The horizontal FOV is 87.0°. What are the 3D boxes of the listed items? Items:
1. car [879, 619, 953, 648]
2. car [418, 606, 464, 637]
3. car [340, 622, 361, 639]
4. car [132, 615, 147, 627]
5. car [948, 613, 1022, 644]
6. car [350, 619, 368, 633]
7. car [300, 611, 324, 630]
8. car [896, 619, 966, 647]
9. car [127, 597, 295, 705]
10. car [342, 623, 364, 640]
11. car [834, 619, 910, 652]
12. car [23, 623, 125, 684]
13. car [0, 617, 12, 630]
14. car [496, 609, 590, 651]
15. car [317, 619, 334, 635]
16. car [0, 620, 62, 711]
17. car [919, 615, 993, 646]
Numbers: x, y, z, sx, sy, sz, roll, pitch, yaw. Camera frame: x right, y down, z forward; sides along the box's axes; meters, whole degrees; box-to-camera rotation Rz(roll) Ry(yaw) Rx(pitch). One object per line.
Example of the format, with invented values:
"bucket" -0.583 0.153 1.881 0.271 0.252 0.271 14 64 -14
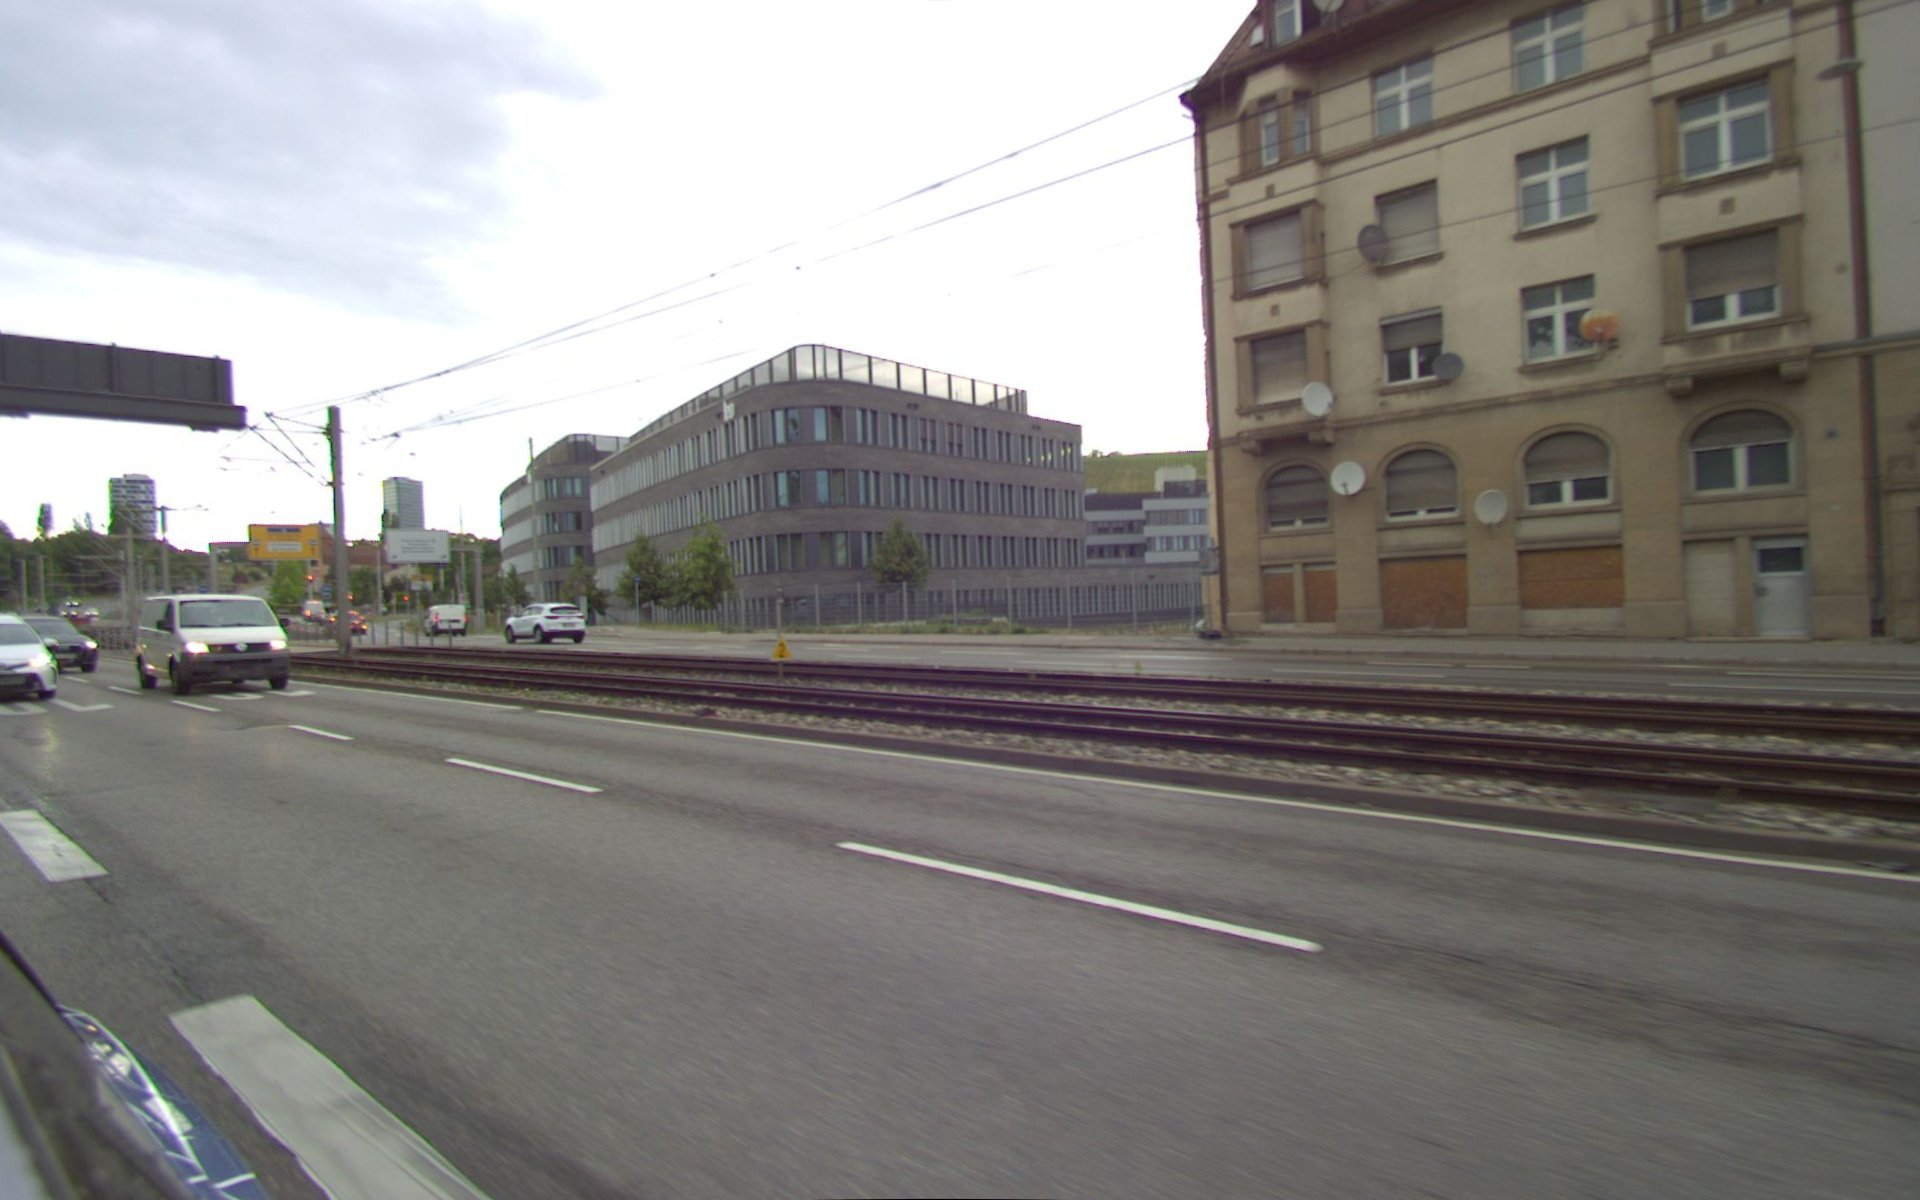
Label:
"car" -2.211 1.656 50.399 3.567 1.345 1.601 -1 0 41
"car" -30.828 1.294 60.055 1.807 1.811 4.225 1 -2 -36
"car" -69.242 3.456 114.944 1.807 1.811 4.226 0 -2 -35
"car" -137.022 3.462 169.016 1.969 1.962 4.006 0 0 -40
"car" 1.378 1.563 56.686 3.998 1.666 1.722 -1 0 41
"car" -78.753 3.413 132.630 1.807 1.811 4.226 0 -2 -35
"car" -89.678 2.789 140.031 2.301 2.486 7.043 0 0 -36
"car" -1.524 1.690 52.988 3.567 1.393 1.525 -1 0 41
"car" -15.630 0.993 21.013 4.716 1.973 1.889 -2 0 42
"car" -65.985 3.426 110.049 1.807 1.811 4.226 0 -2 -35
"car" -4.184 1.652 47.717 3.567 1.447 1.525 -1 0 41
"car" -25.269 1.483 28.829 3.894 1.585 1.686 -2 -1 41
"car" -156.644 3.881 165.447 3.998 2.029 1.973 -1 0 41
"car" -17.300 1.252 41.912 4.485 1.609 1.727 -2 0 41
"car" -79.896 3.373 127.409 1.643 1.833 4.010 0 0 -34
"car" -18.728 1.217 19.257 4.317 1.585 1.956 -2 -1 41
"car" -0.221 1.618 54.518 3.787 1.556 1.722 -1 0 41
